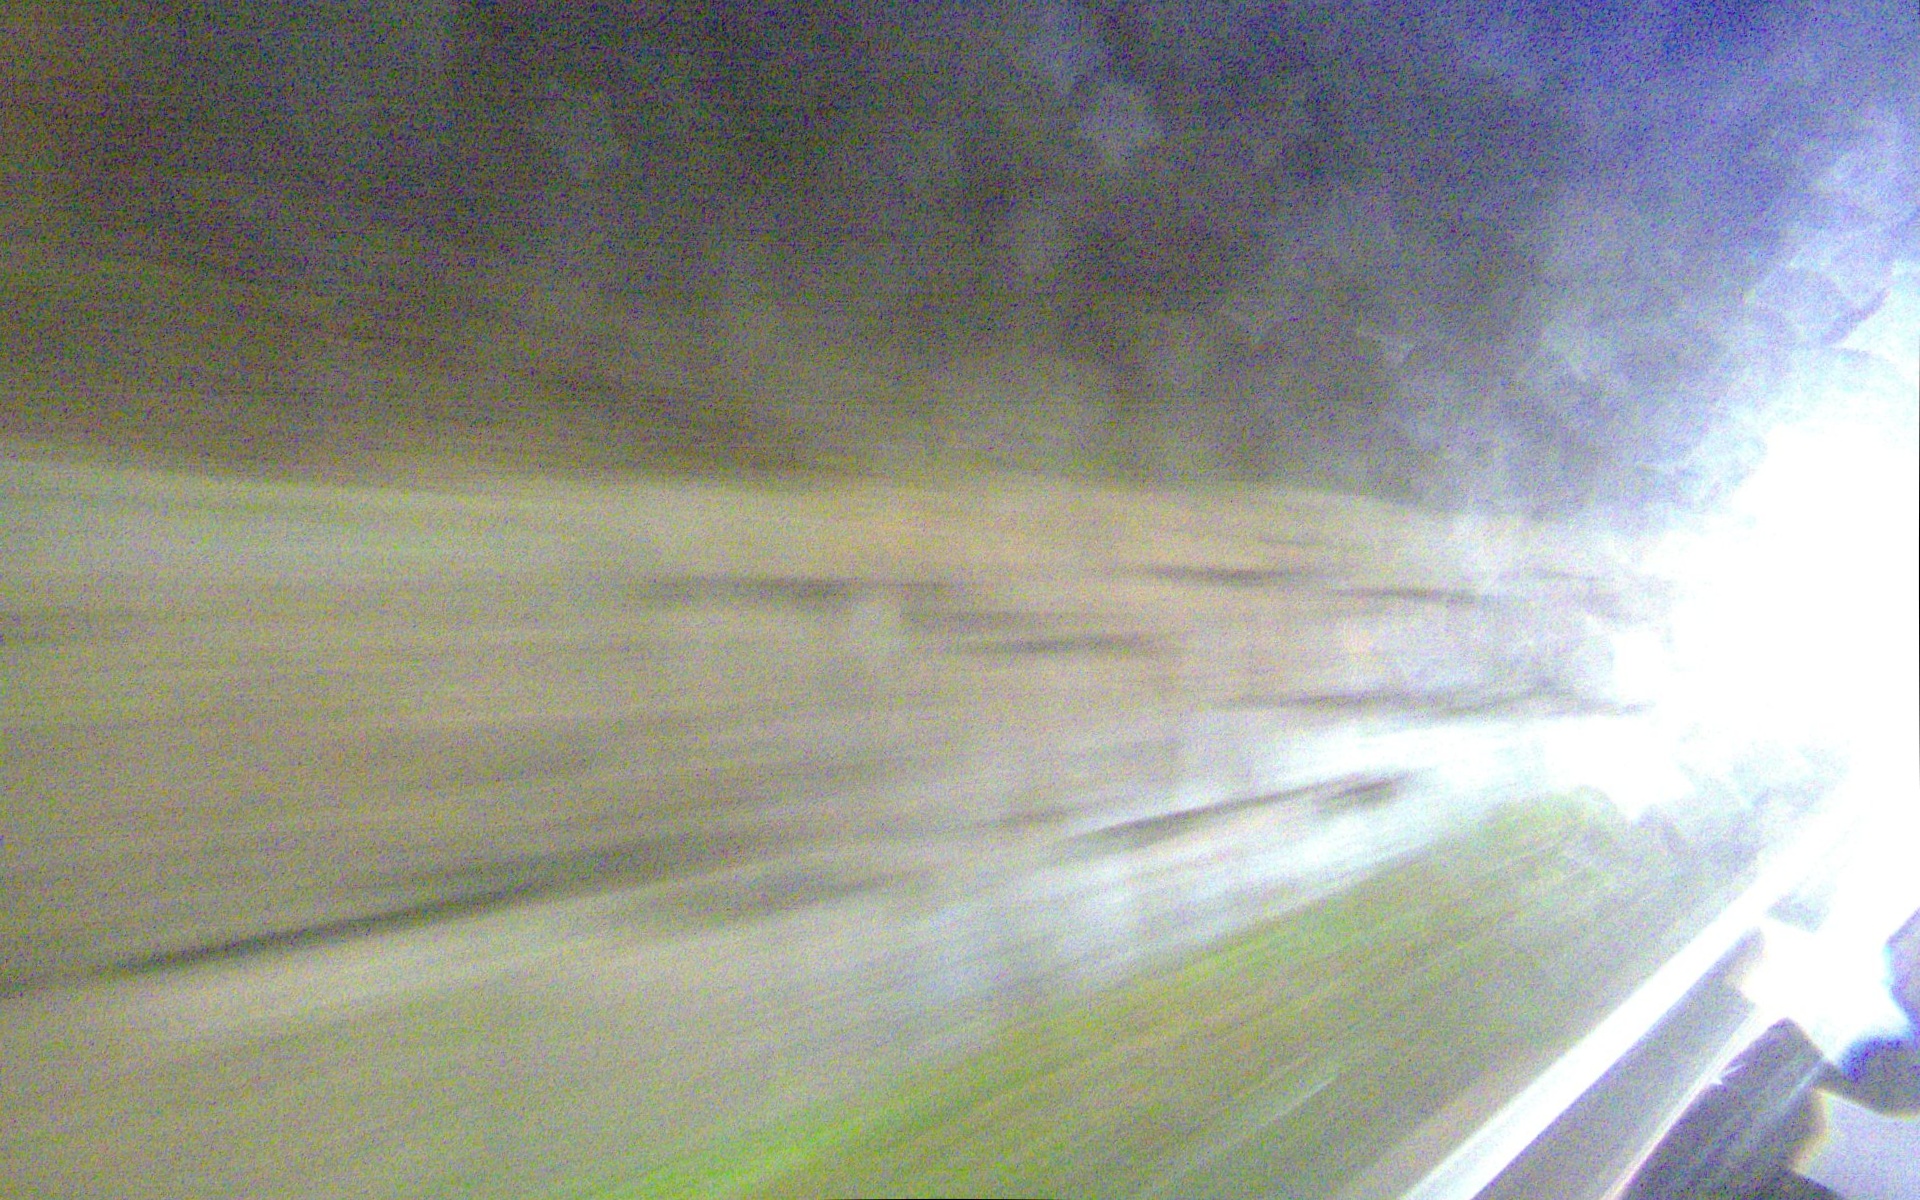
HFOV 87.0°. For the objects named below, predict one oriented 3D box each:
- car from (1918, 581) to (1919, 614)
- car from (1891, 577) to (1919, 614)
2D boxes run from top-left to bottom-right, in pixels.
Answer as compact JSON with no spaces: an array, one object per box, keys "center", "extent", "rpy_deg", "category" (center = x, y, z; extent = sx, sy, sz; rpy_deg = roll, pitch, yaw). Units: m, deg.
[{"center":[44.774,-0.059,45.675],"extent":[1.991,1.482,3.943],"rpy_deg":[1,3,40],"category":"car"},{"center":[55.049,-0.260,58.224],"extent":[1.991,2.039,3.942],"rpy_deg":[1,1,40],"category":"car"}]
